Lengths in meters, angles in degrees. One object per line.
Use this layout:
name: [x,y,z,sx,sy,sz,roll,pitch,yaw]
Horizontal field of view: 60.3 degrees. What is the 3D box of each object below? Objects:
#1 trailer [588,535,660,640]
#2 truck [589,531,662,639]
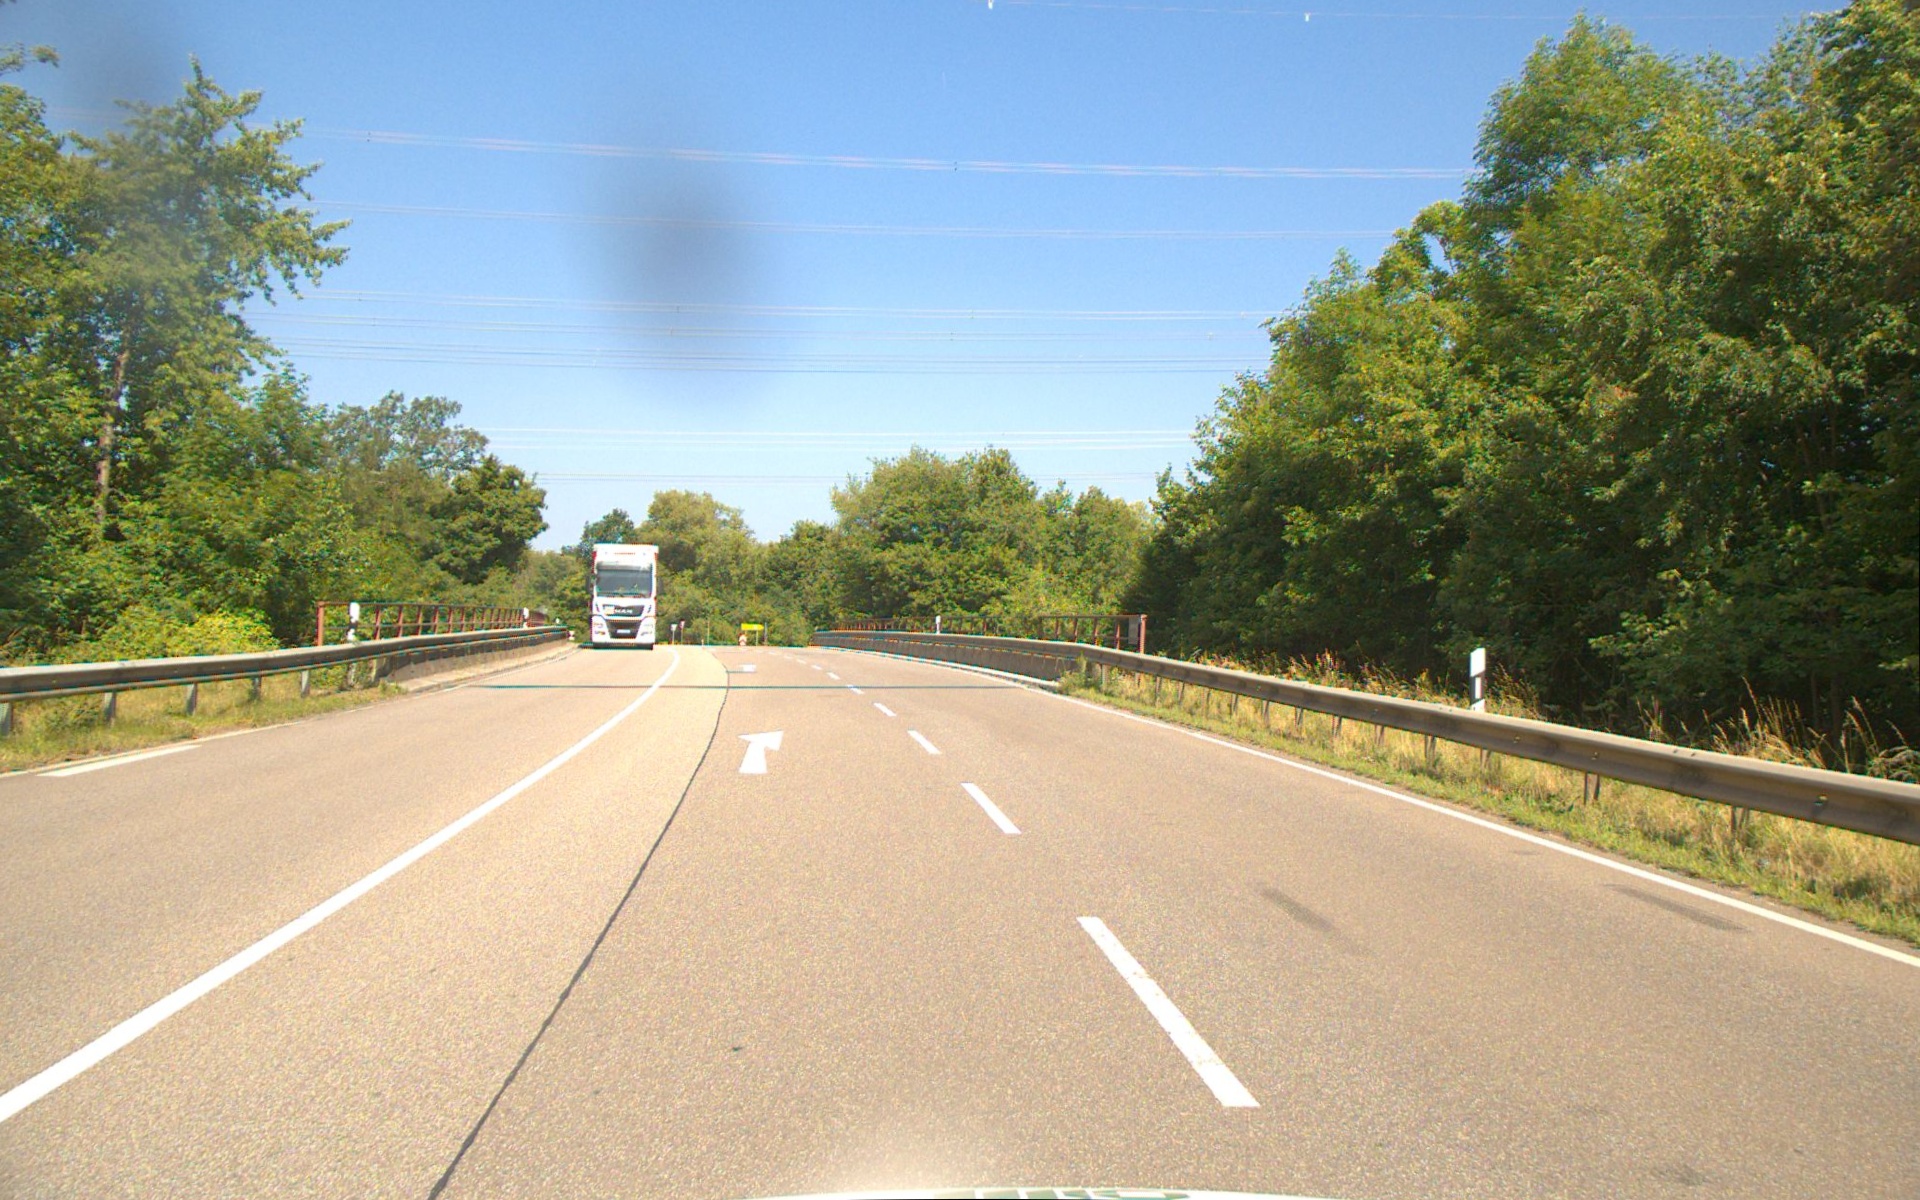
trailer: [-14.905,-0.378,72.680,2.720,4.133,14.151,0,-1,-13]
truck: [-13.427,-0.495,66.180,2.720,4.105,5.836,0,-1,-12]
